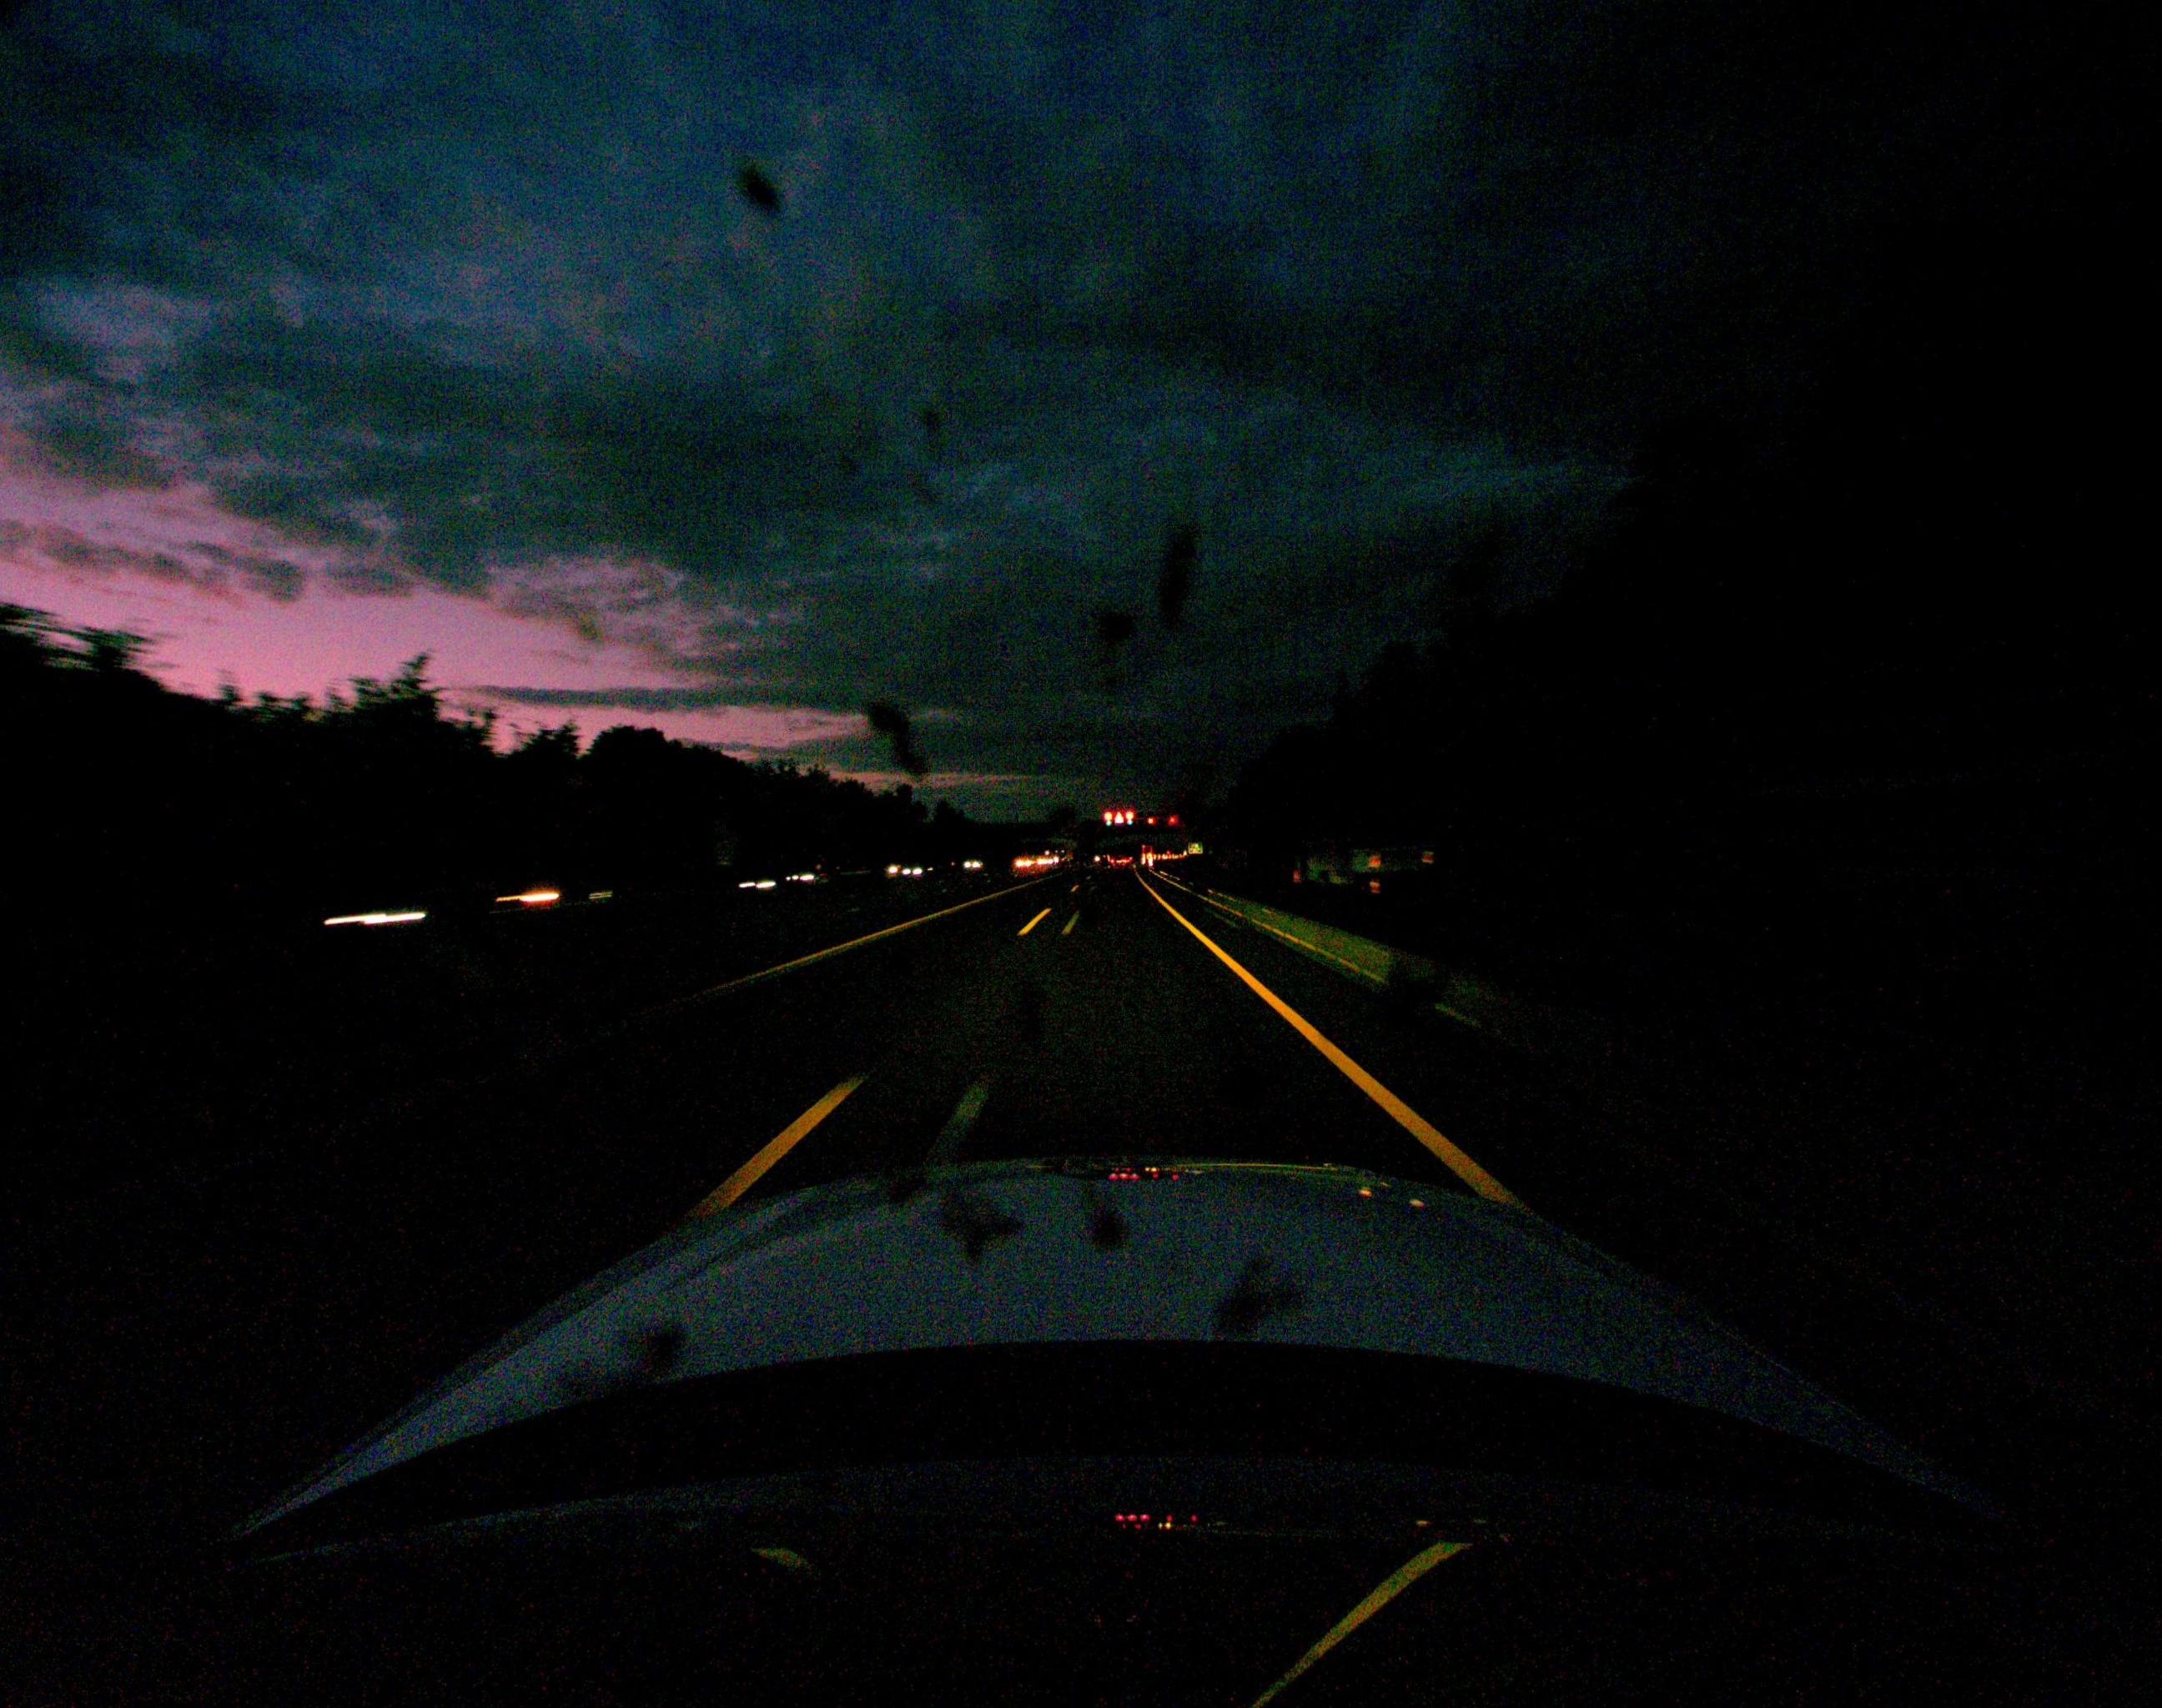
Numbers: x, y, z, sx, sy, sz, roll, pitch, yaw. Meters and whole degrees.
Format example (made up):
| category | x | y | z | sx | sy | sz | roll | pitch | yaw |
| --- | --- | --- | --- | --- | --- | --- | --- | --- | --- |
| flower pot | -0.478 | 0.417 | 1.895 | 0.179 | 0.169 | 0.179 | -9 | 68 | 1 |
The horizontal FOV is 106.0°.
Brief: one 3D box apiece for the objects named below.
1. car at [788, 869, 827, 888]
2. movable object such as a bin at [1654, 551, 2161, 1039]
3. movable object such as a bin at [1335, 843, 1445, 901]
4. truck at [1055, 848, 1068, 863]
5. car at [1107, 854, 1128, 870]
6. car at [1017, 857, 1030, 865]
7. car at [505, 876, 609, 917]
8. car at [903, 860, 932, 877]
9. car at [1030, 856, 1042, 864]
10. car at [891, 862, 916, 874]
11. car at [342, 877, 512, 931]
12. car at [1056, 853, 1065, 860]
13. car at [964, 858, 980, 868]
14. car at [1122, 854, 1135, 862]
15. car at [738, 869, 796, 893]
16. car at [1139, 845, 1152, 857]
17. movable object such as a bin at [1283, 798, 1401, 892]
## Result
| category | x | y | z | sx | sy | sz | roll | pitch | yaw |
| --- | --- | --- | --- | --- | --- | --- | --- | --- | --- |
| car | -22.802 | 2.038 | 68.084 | 1.657 | 1.507 | 4.182 | 0 | 0 | 4 |
| movable object such as a bin | 8.700 | -0.428 | 7.757 | 2.554 | 3.318 | 5.581 | -2 | -1 | 2 |
| movable object such as a bin | 9.579 | 0.545 | 25.617 | 1.985 | 1.601 | 4.087 | -3 | -1 | 2 |
| truck | -5.648 | 0.473 | 238.364 | 2.763 | 4.171 | 6.396 | 0 | 0 | 6 |
| car | 3.904 | 0.872 | 88.366 | 2.257 | 1.621 | 4.001 | 0 | 0 | 1 |
| car | -10.924 | 1.333 | 155.053 | 1.671 | 1.638 | 4.757 | 0 | 0 | 4 |
| car | -24.581 | 1.930 | 38.416 | 1.744 | 1.722 | 4.672 | 0 | 0 | 2 |
| car | -17.600 | 1.548 | 87.949 | 1.892 | 1.738 | 4.813 | 0 | 0 | 4 |
| car | -9.306 | 1.284 | 168.842 | 1.796 | 1.638 | 4.757 | 0 | 0 | 4 |
| car | -22.372 | 1.705 | 102.637 | 1.817 | 1.485 | 4.706 | 0 | 0 | 4 |
| car | -22.457 | 1.653 | 28.284 | 1.800 | 1.588 | 4.879 | 0 | 0 | 2 |
| car | -5.104 | 0.702 | 199.341 | 1.729 | 1.638 | 4.897 | 0 | 0 | 4 |
| car | -18.575 | 1.564 | 139.157 | 1.796 | 1.638 | 4.757 | 0 | 0 | 4 |
| car | 8.721 | 0.723 | 149.204 | 1.961 | 1.437 | 4.008 | 0 | 0 | 7 |
| car | -20.666 | 1.764 | 53.826 | 1.743 | 1.454 | 4.675 | 0 | 0 | 4 |
| car | 18.834 | -0.949 | 238.745 | 3.590 | 3.395 | 8.021 | 0 | 0 | 3 |
| movable object such as a bin | 9.601 | -0.293 | 30.588 | 2.611 | 3.108 | 5.808 | -2 | 0 | 2 |
